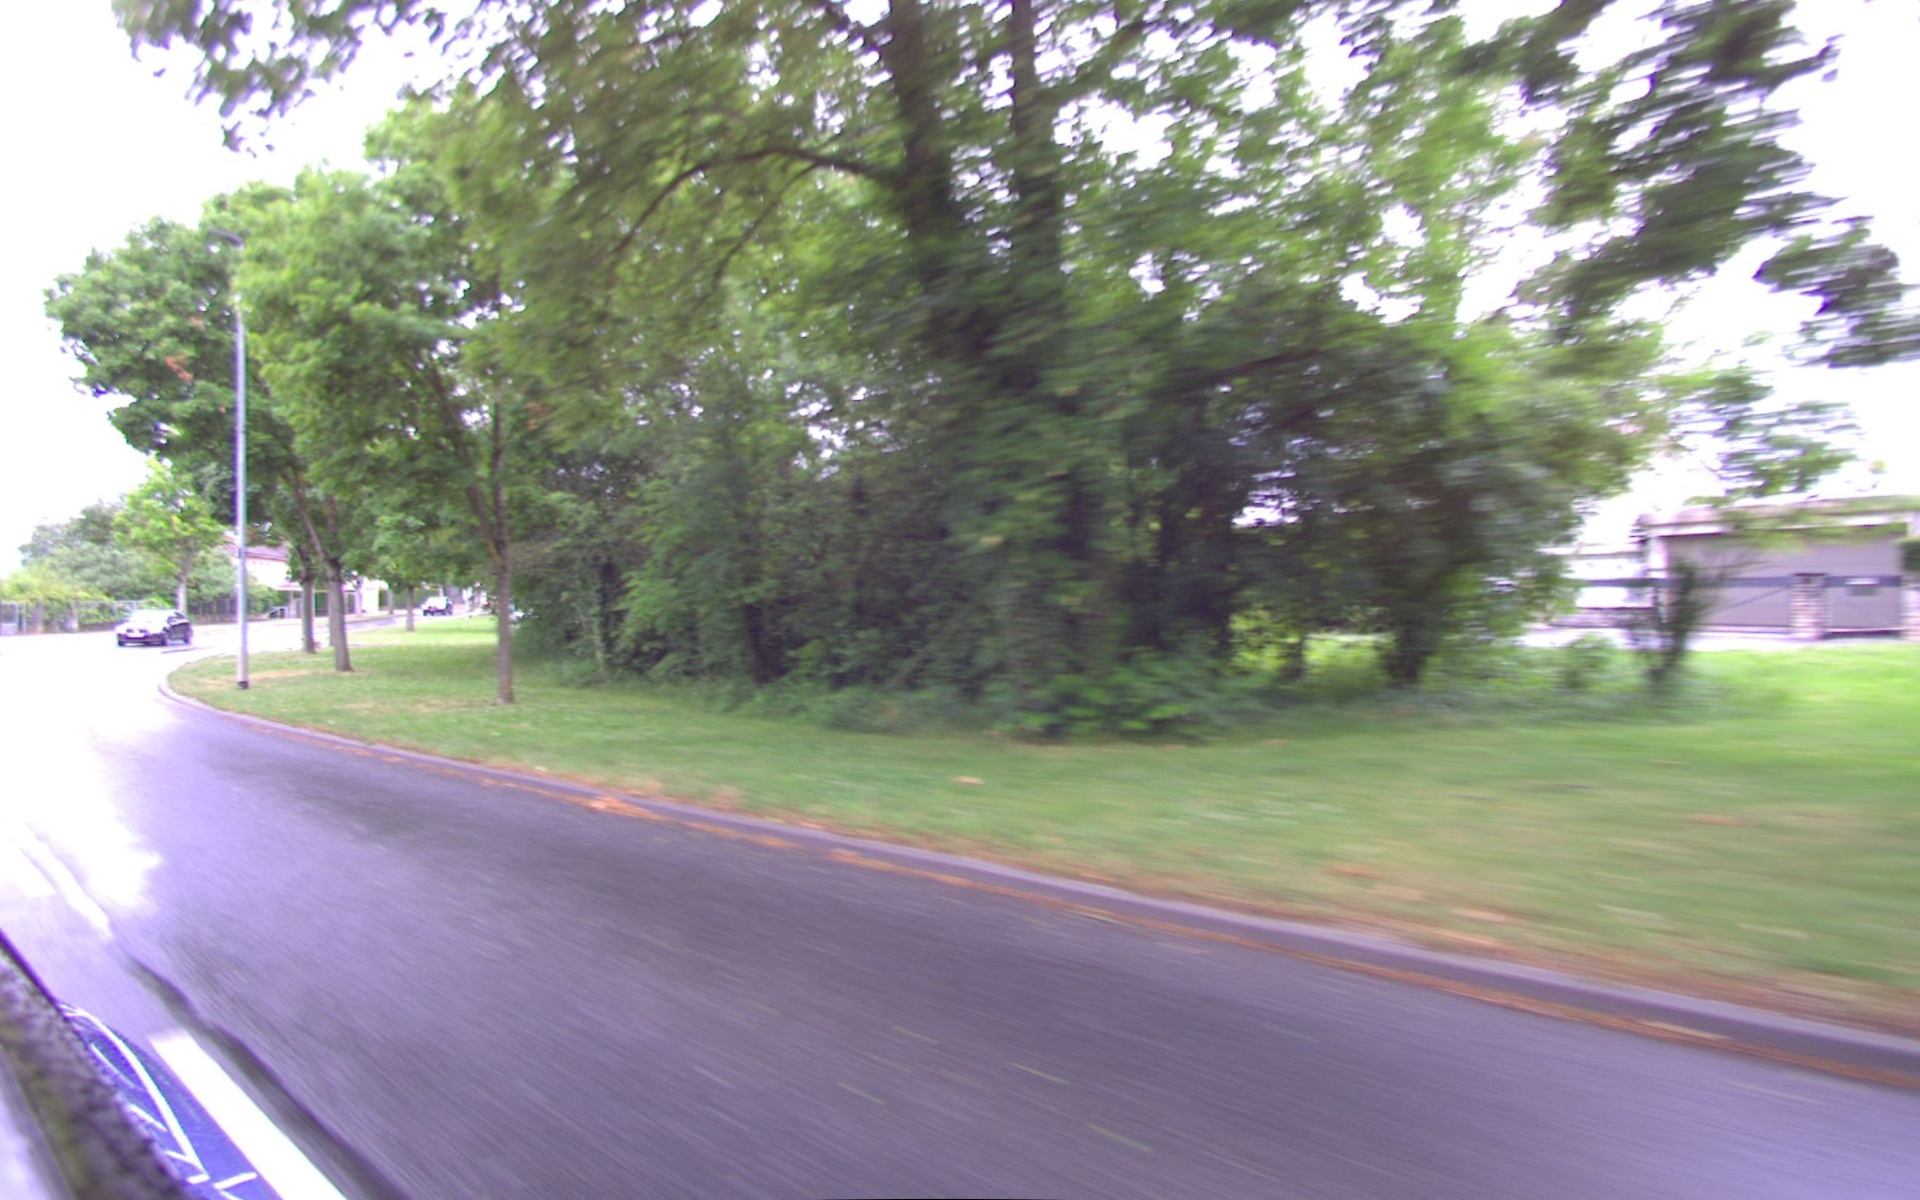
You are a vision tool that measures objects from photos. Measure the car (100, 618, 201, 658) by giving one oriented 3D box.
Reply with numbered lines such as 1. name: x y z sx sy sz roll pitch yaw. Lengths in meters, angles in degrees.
1. car: -34.118 1.574 42.815 1.898 1.393 4.322 -2 1 -18

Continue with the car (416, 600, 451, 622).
1. car: -47.692 0.967 91.706 1.966 1.872 4.012 -2 1 -15

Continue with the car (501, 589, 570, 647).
1. car: -16.421 0.777 38.968 2.097 2.001 5.492 2 -3 -26
